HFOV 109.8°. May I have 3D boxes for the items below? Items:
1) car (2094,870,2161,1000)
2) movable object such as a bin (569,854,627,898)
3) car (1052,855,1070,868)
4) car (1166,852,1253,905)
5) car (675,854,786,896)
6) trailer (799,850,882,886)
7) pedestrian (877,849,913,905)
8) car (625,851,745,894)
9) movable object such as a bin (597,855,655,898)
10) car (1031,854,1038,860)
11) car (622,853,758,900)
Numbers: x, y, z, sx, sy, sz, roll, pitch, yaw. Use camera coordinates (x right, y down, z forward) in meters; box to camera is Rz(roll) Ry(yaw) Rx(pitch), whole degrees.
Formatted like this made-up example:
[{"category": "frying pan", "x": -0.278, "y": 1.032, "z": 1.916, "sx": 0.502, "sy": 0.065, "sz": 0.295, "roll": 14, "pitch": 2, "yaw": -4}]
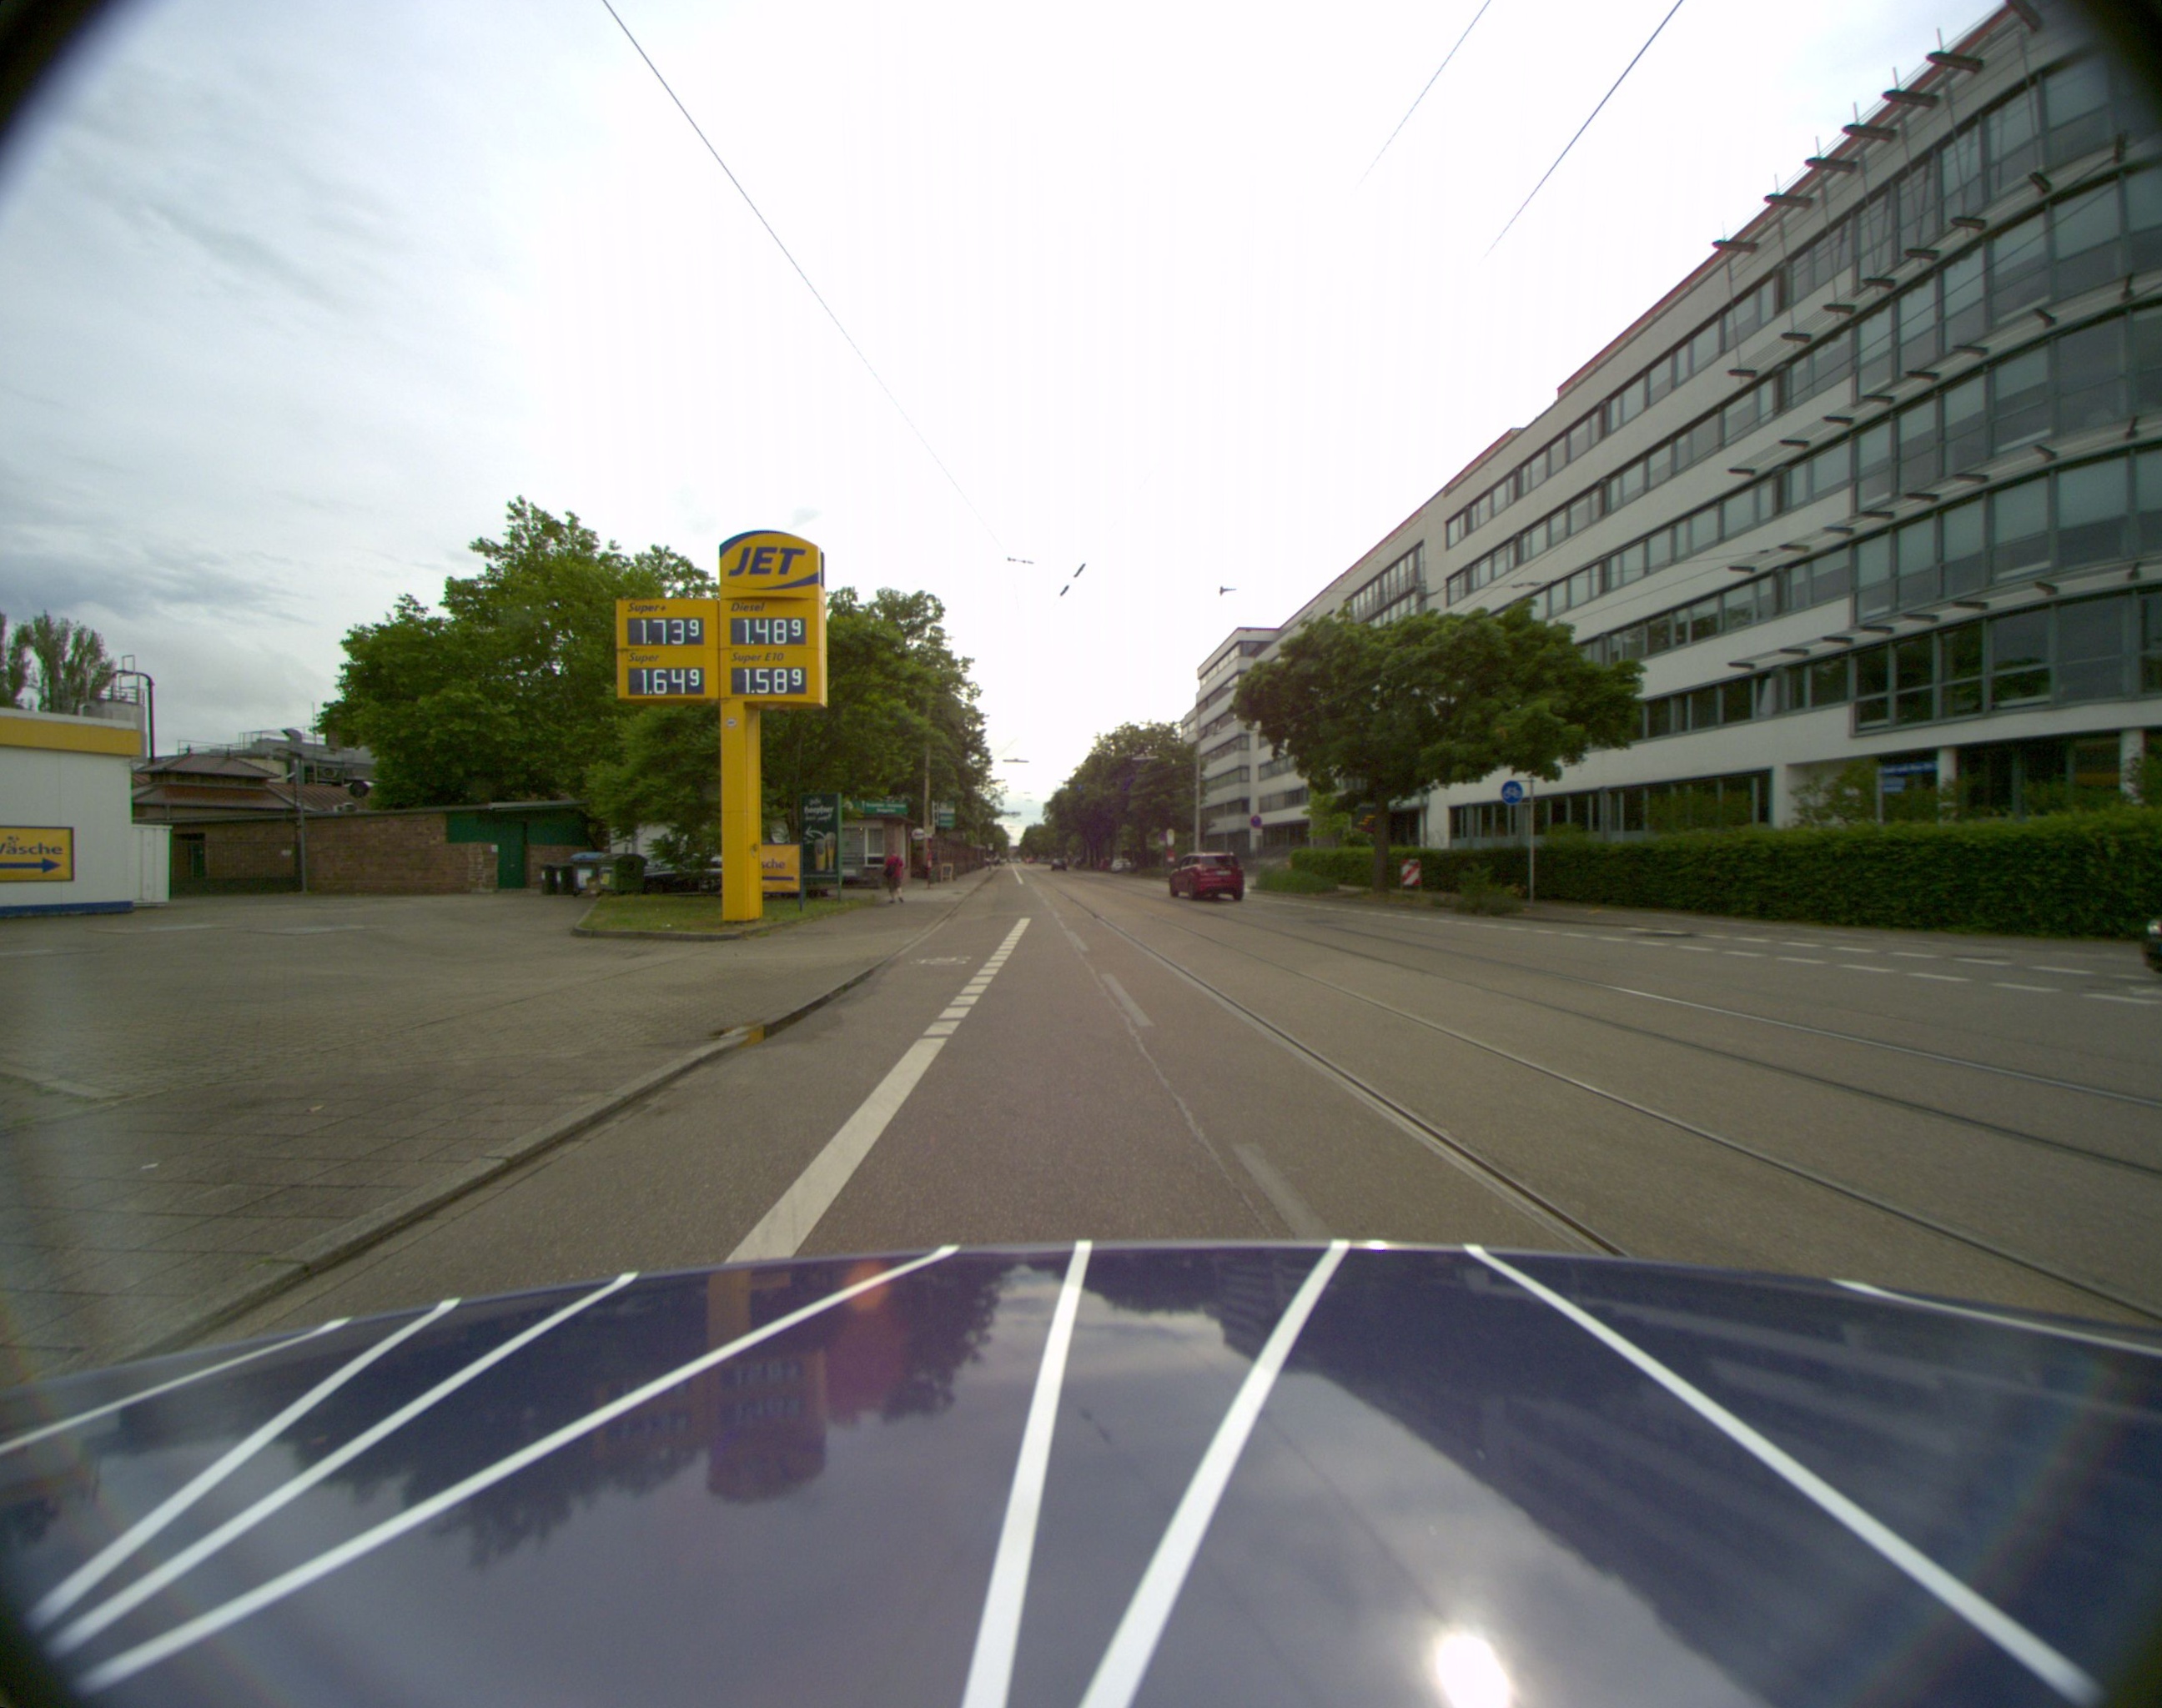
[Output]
[{"category": "car", "x": 13.533, "y": 0.845, "z": 7.437, "sx": 4.105, "sy": 1.361, "sz": 1.790, "roll": -1, "pitch": 1, "yaw": 16}, {"category": "movable object such as a bin", "x": -15.739, "y": 0.712, "z": 24.754, "sx": 1.118, "sy": 1.351, "sz": 1.162, "roll": -1, "pitch": 1, "yaw": 30}, {"category": "car", "x": -2.516, "y": 0.984, "z": 96.486, "sx": 1.802, "sy": 1.537, "sz": 4.477, "roll": -1, "pitch": 0, "yaw": -7}, {"category": "car", "x": 4.505, "y": 0.804, "z": 27.322, "sx": 1.848, "sy": 1.714, "sz": 4.404, "roll": -1, "pitch": 0, "yaw": -8}, {"category": "car", "x": -12.082, "y": 0.686, "z": 26.502, "sx": 1.999, "sy": 1.281, "sz": 3.999, "roll": -1, "pitch": 0, "yaw": -1}, {"category": "trailer", "x": -11.022, "y": 0.639, "z": 34.998, "sx": 3.292, "sy": 1.523, "sz": 1.772, "roll": 1, "pitch": 2, "yaw": -4}, {"category": "pedestrian", "x": -6.028, "y": 0.736, "z": 24.641, "sx": 0.871, "sy": 1.738, "sz": 0.848, "roll": 2, "pitch": 1, "yaw": -30}, {"category": "car", "x": -16.838, "y": 0.756, "z": 32.476, "sx": 3.998, "sy": 1.657, "sz": 1.999, "roll": -2, "pitch": 1, "yaw": -4}, {"category": "movable object such as a bin", "x": -14.510, "y": 0.712, "z": 24.232, "sx": 1.118, "sy": 1.312, "sz": 1.162, "roll": -1, "pitch": 1, "yaw": 30}, {"category": "car", "x": -14.653, "y": 0.908, "z": 238.119, "sx": 1.999, "sy": 2.002, "sz": 3.999, "roll": -1, "pitch": 1, "yaw": -1}, {"category": "car", "x": -14.276, "y": 0.772, "z": 27.940, "sx": 1.822, "sy": 1.509, "sz": 4.008, "roll": -1, "pitch": 1, "yaw": 36}]
